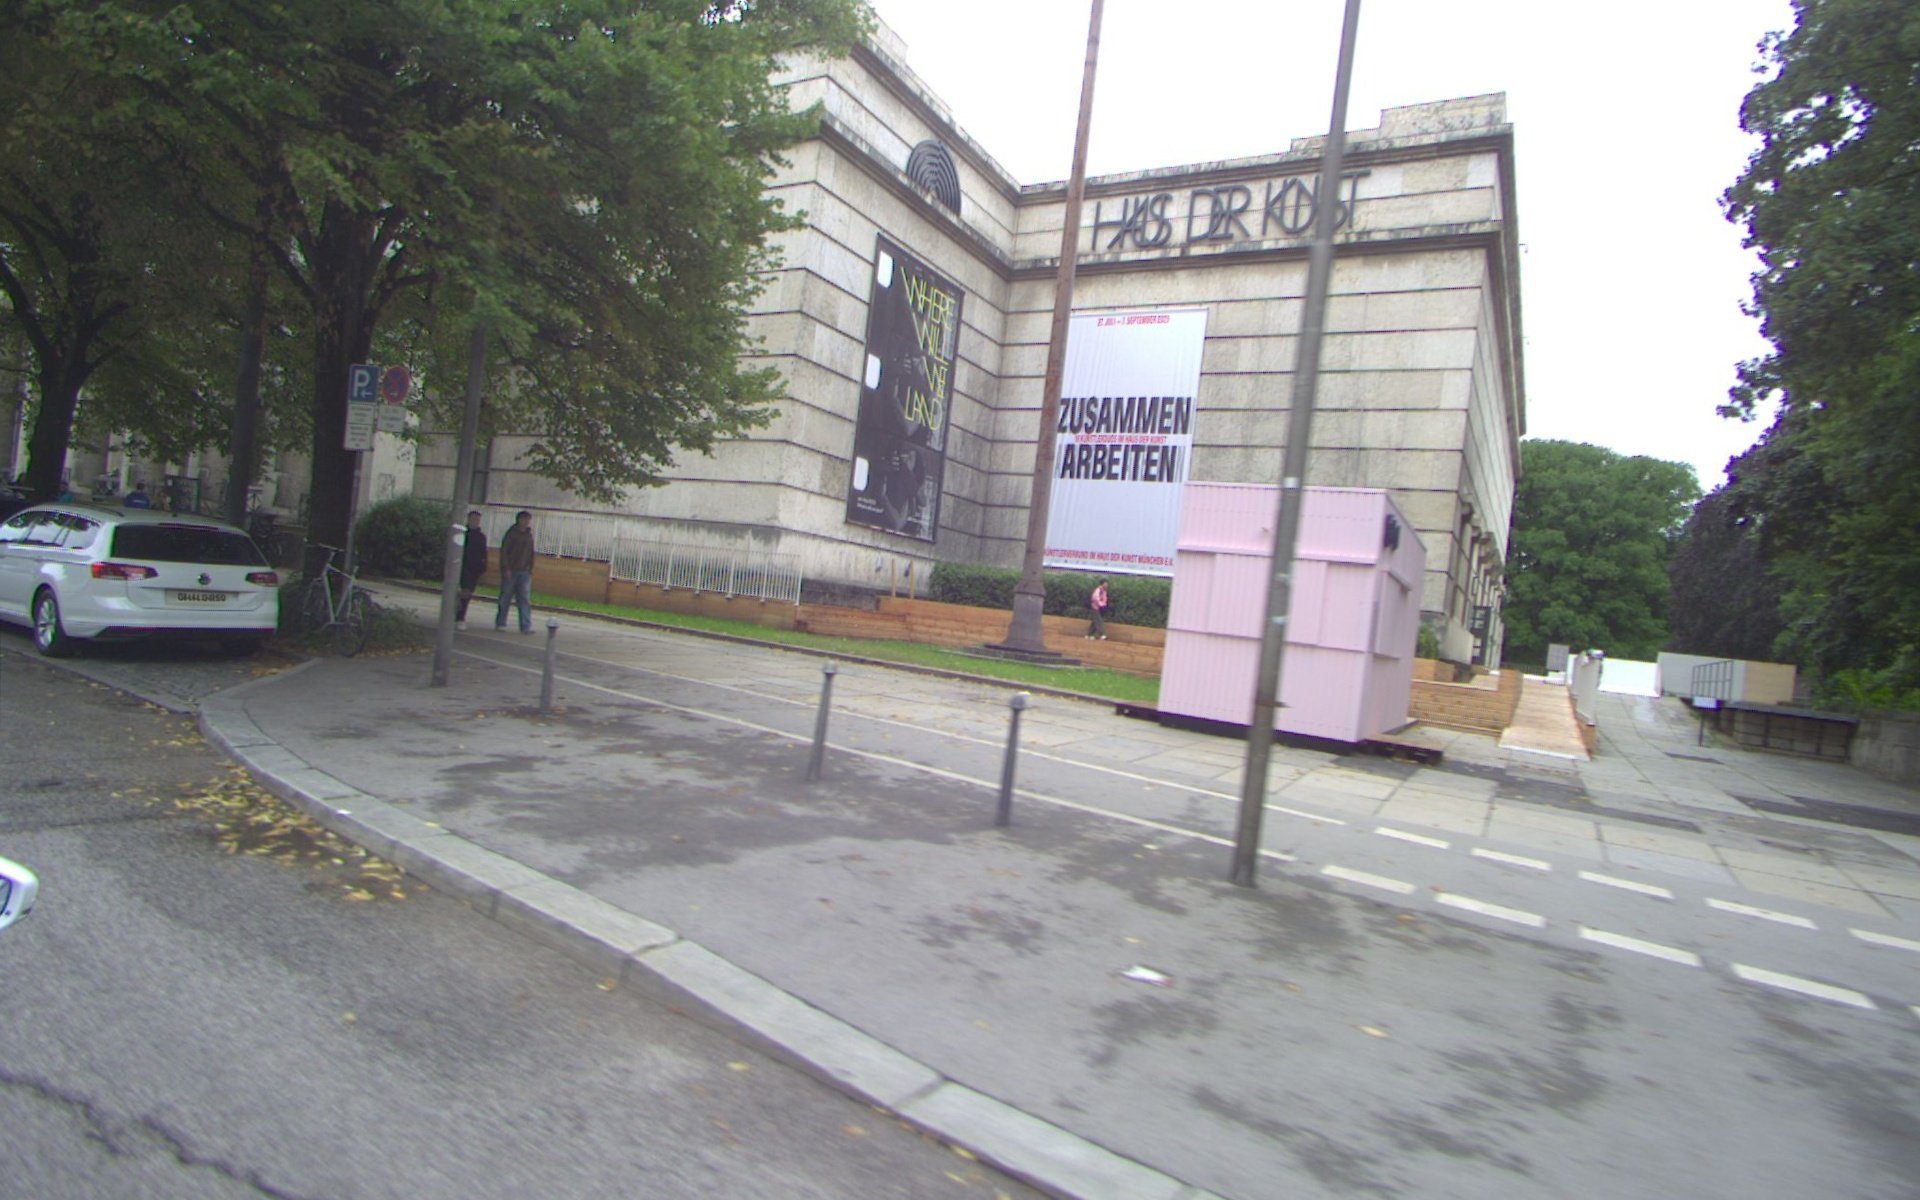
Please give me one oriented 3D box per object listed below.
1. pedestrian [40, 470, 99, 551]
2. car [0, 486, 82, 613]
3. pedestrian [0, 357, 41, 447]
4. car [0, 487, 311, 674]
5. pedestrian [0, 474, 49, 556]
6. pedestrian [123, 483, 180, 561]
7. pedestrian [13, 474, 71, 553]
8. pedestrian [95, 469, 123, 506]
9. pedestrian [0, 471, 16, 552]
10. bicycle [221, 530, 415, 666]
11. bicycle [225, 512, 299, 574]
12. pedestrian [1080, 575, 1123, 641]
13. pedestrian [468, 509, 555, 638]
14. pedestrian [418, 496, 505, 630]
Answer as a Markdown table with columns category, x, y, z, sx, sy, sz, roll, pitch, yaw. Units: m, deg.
| category | x | y | z | sx | sy | sz | roll | pitch | yaw |
| --- | --- | --- | --- | --- | --- | --- | --- | --- | --- |
| pedestrian | -23.071 | -2.313 | 26.074 | 0.758 | 1.933 | 0.780 | 7 | -1 | 32 |
| car | -14.183 | -0.889 | 13.939 | 4.509 | 1.569 | 1.726 | 7 | 0 | 32 |
| pedestrian | -25.304 | -5.133 | 25.329 | 3.933 | 2.037 | 1.997 | 7 | -1 | 31 |
| car | -9.305 | -0.296 | 10.977 | 4.673 | 1.569 | 1.829 | 7 | 0 | 32 |
| pedestrian | -23.855 | -2.143 | 25.497 | 0.758 | 1.933 | 0.780 | 7 | -1 | 32 |
| pedestrian | -21.443 | -2.066 | 26.692 | 0.758 | 1.933 | 0.780 | 7 | -1 | 32 |
| pedestrian | -24.293 | -2.279 | 26.635 | 0.758 | 1.933 | 0.780 | 7 | -1 | 32 |
| pedestrian | -34.390 | -4.537 | 40.653 | 0.635 | 1.390 | 0.567 | 7 | -1 | 32 |
| pedestrian | -23.523 | -2.196 | 24.253 | 0.758 | 1.933 | 0.780 | 7 | -1 | 32 |
| bicycle | -7.436 | -0.049 | 11.596 | 2.573 | 1.245 | 0.630 | 7 | -1 | 29 |
| bicycle | -18.937 | -1.559 | 27.277 | 2.260 | 1.433 | 0.700 | 7 | 1 | 31 |
| pedestrian | 3.524 | 0.202 | 25.036 | 0.758 | 1.512 | 0.488 | 7 | -1 | 32 |
| pedestrian | -7.187 | -0.420 | 16.129 | 0.758 | 1.933 | 0.765 | 7 | -1 | 32 |
| pedestrian | -7.697 | -0.559 | 15.535 | 0.758 | 1.933 | 0.700 | 7 | -1 | 32 |
